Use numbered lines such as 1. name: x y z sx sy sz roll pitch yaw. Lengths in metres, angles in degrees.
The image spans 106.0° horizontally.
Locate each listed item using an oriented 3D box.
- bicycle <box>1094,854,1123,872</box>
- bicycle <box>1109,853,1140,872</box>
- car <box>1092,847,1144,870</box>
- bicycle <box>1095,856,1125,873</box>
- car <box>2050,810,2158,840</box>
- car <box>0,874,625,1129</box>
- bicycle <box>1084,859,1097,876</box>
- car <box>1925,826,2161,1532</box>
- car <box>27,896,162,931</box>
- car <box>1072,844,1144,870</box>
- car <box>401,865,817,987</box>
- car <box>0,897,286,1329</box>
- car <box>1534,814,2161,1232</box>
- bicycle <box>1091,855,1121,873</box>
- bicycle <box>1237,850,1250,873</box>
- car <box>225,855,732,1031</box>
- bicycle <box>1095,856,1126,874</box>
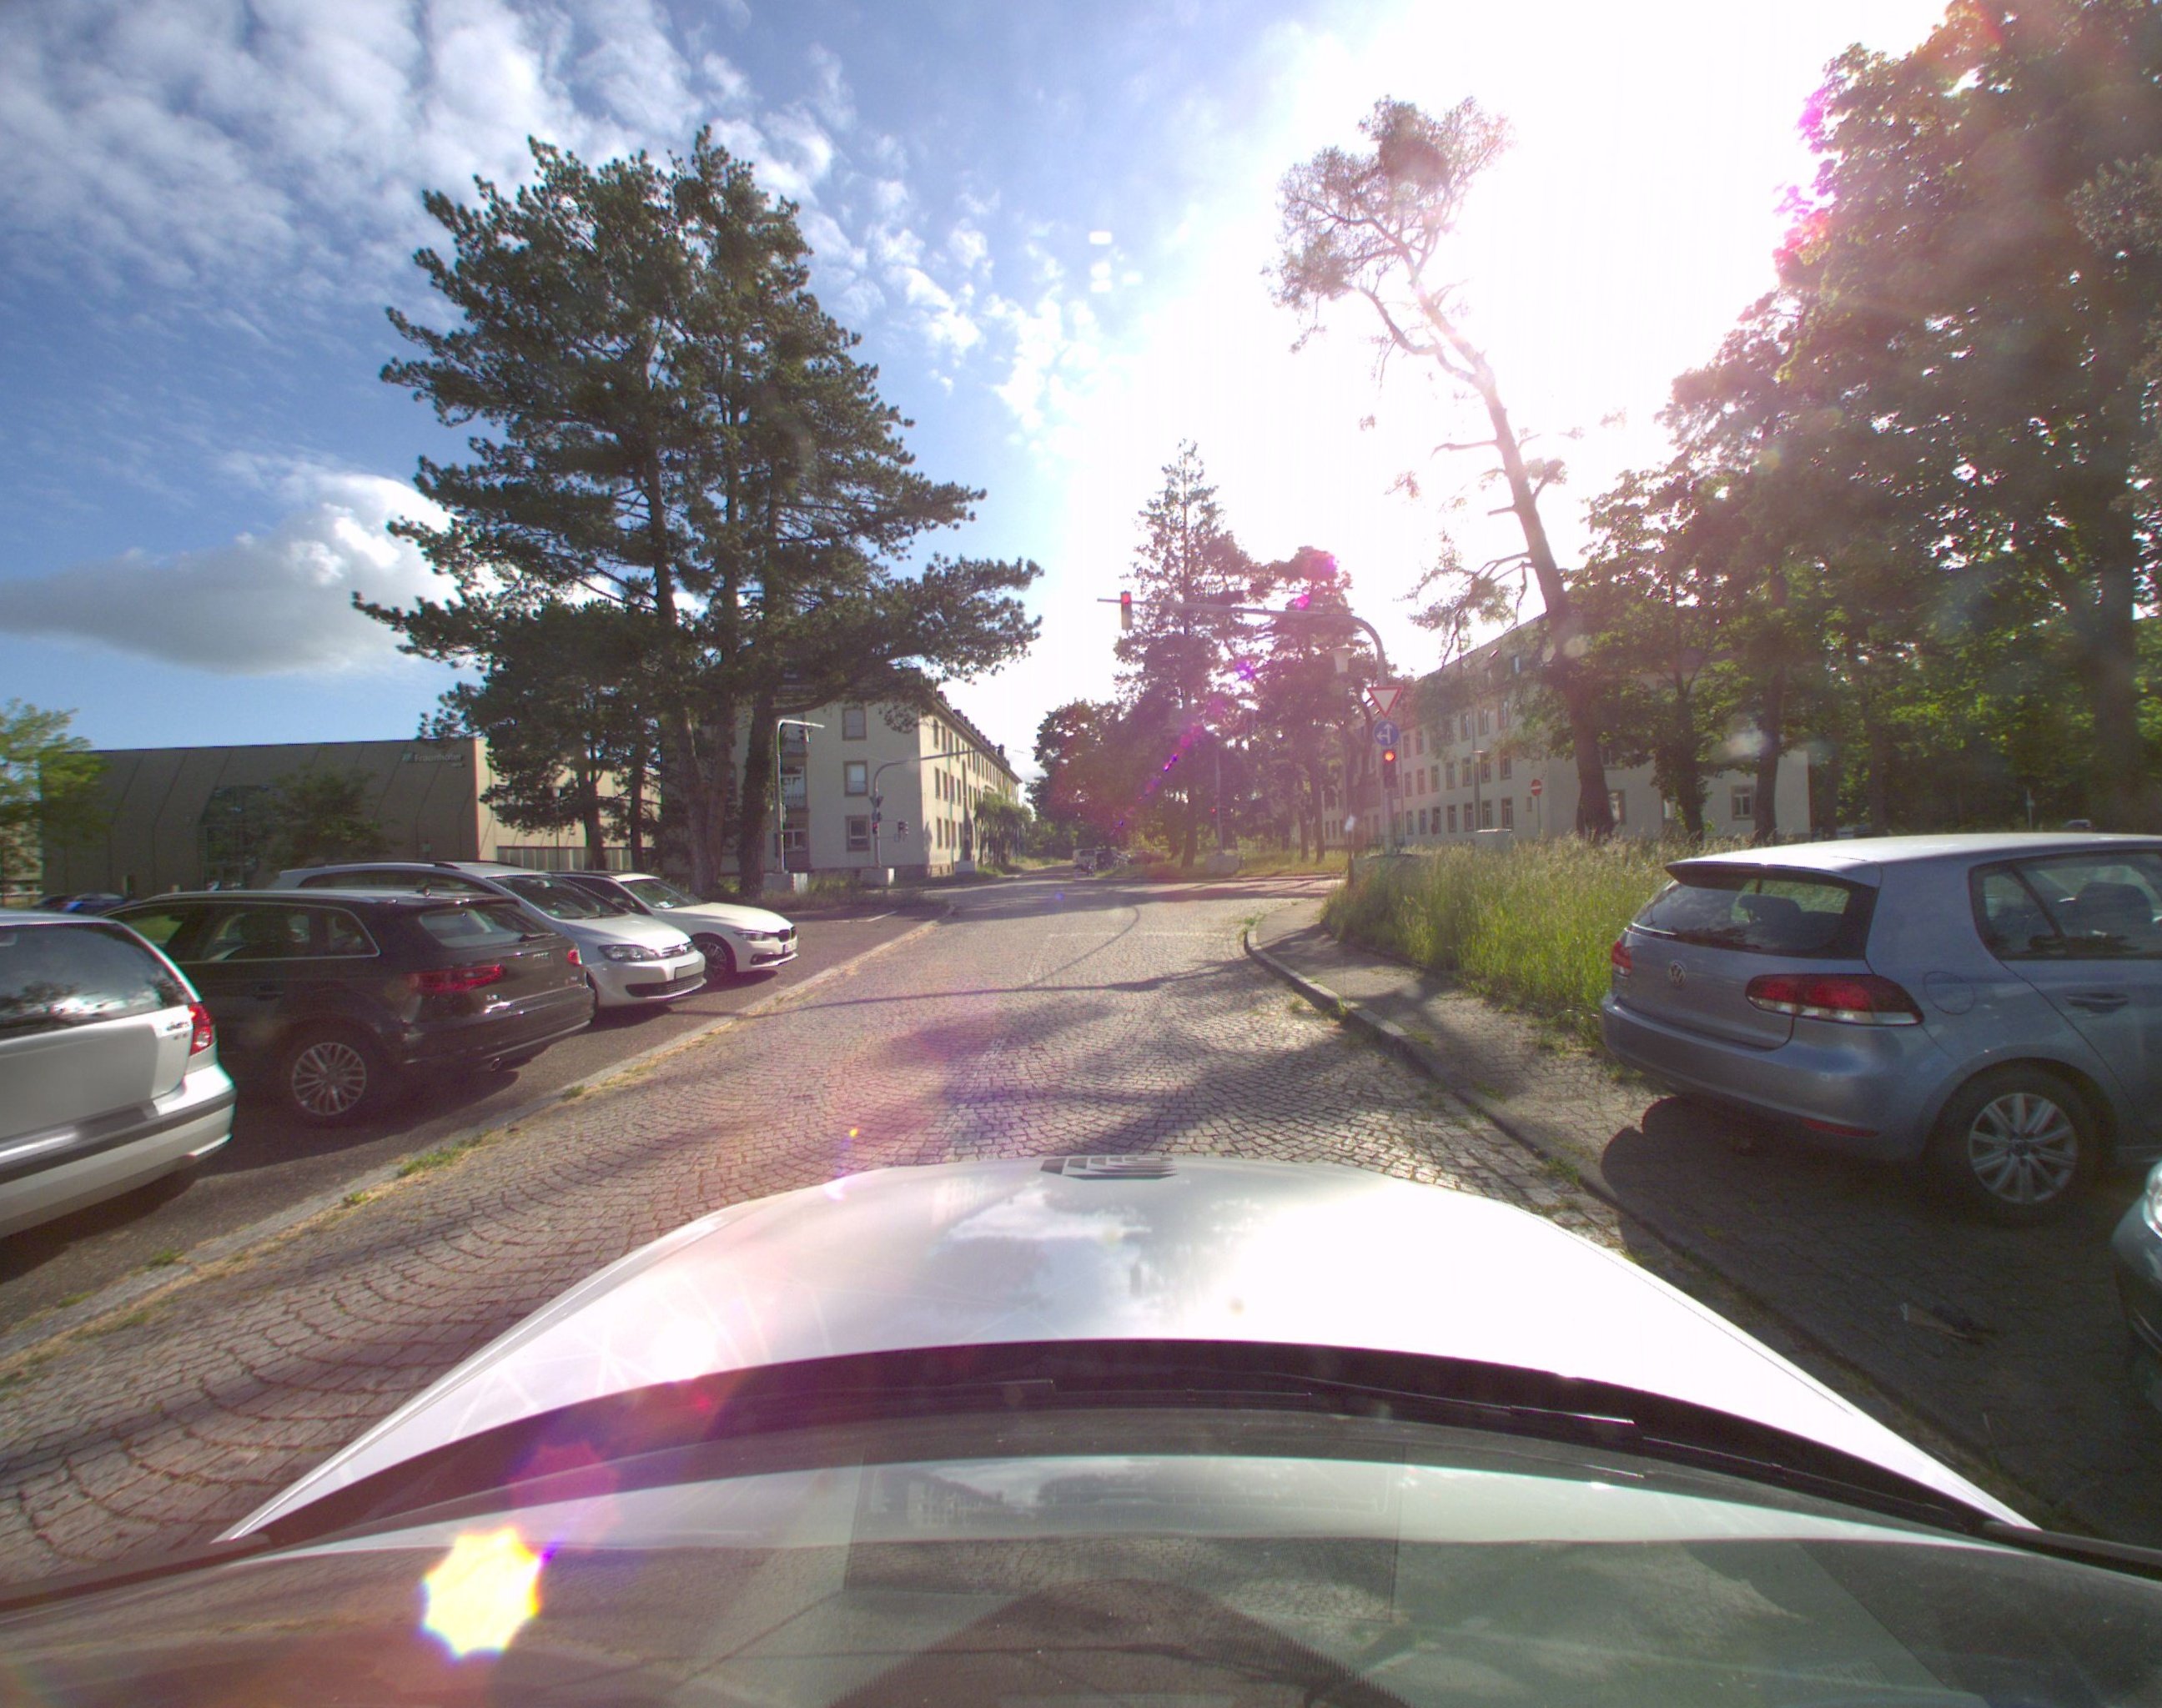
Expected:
1. bicycle: 1.884 0.613 55.936 1.937 1.129 0.647 -2 0 -5
2. bicycle: 2.895 0.556 54.302 1.936 1.235 0.485 -2 0 -3
3. car: 2.982 0.388 66.553 3.983 1.684 1.843 -2 0 -7
4. bicycle: 1.857 0.667 52.807 1.850 1.031 0.749 -2 0 -3
5. car: 57.997 -1.640 46.210 3.977 1.464 1.845 -2 0 -3
6. car: -5.619 0.916 5.761 3.785 1.471 1.687 1 0 -1
7. bicycle: 0.550 0.829 49.318 0.693 0.971 1.860 -2 0 -1
8. car: 4.564 0.590 1.373 4.484 1.516 1.824 -3 0 -3
9. car: -47.763 2.849 39.562 1.481 1.294 4.055 -2 0 3
10. car: 2.291 0.239 70.957 5.924 2.013 2.470 -2 0 -6
11. car: -6.134 0.906 11.007 4.529 1.467 1.751 0 0 -2
12. car: -5.577 0.938 3.066 3.455 1.471 1.635 1 0 -2
13. car: 4.765 0.587 4.005 4.002 1.460 1.871 -3 0 0
14. bicycle: 1.701 0.666 54.821 1.951 1.129 0.642 -2 0 -26
15. bicycle: 8.124 0.368 40.635 0.464 1.080 1.175 -2 0 4
16. car: -6.018 0.843 8.558 3.935 1.626 1.720 0 0 -4
17. bicycle: 1.948 0.705 53.604 1.936 1.129 0.749 -2 0 -3
